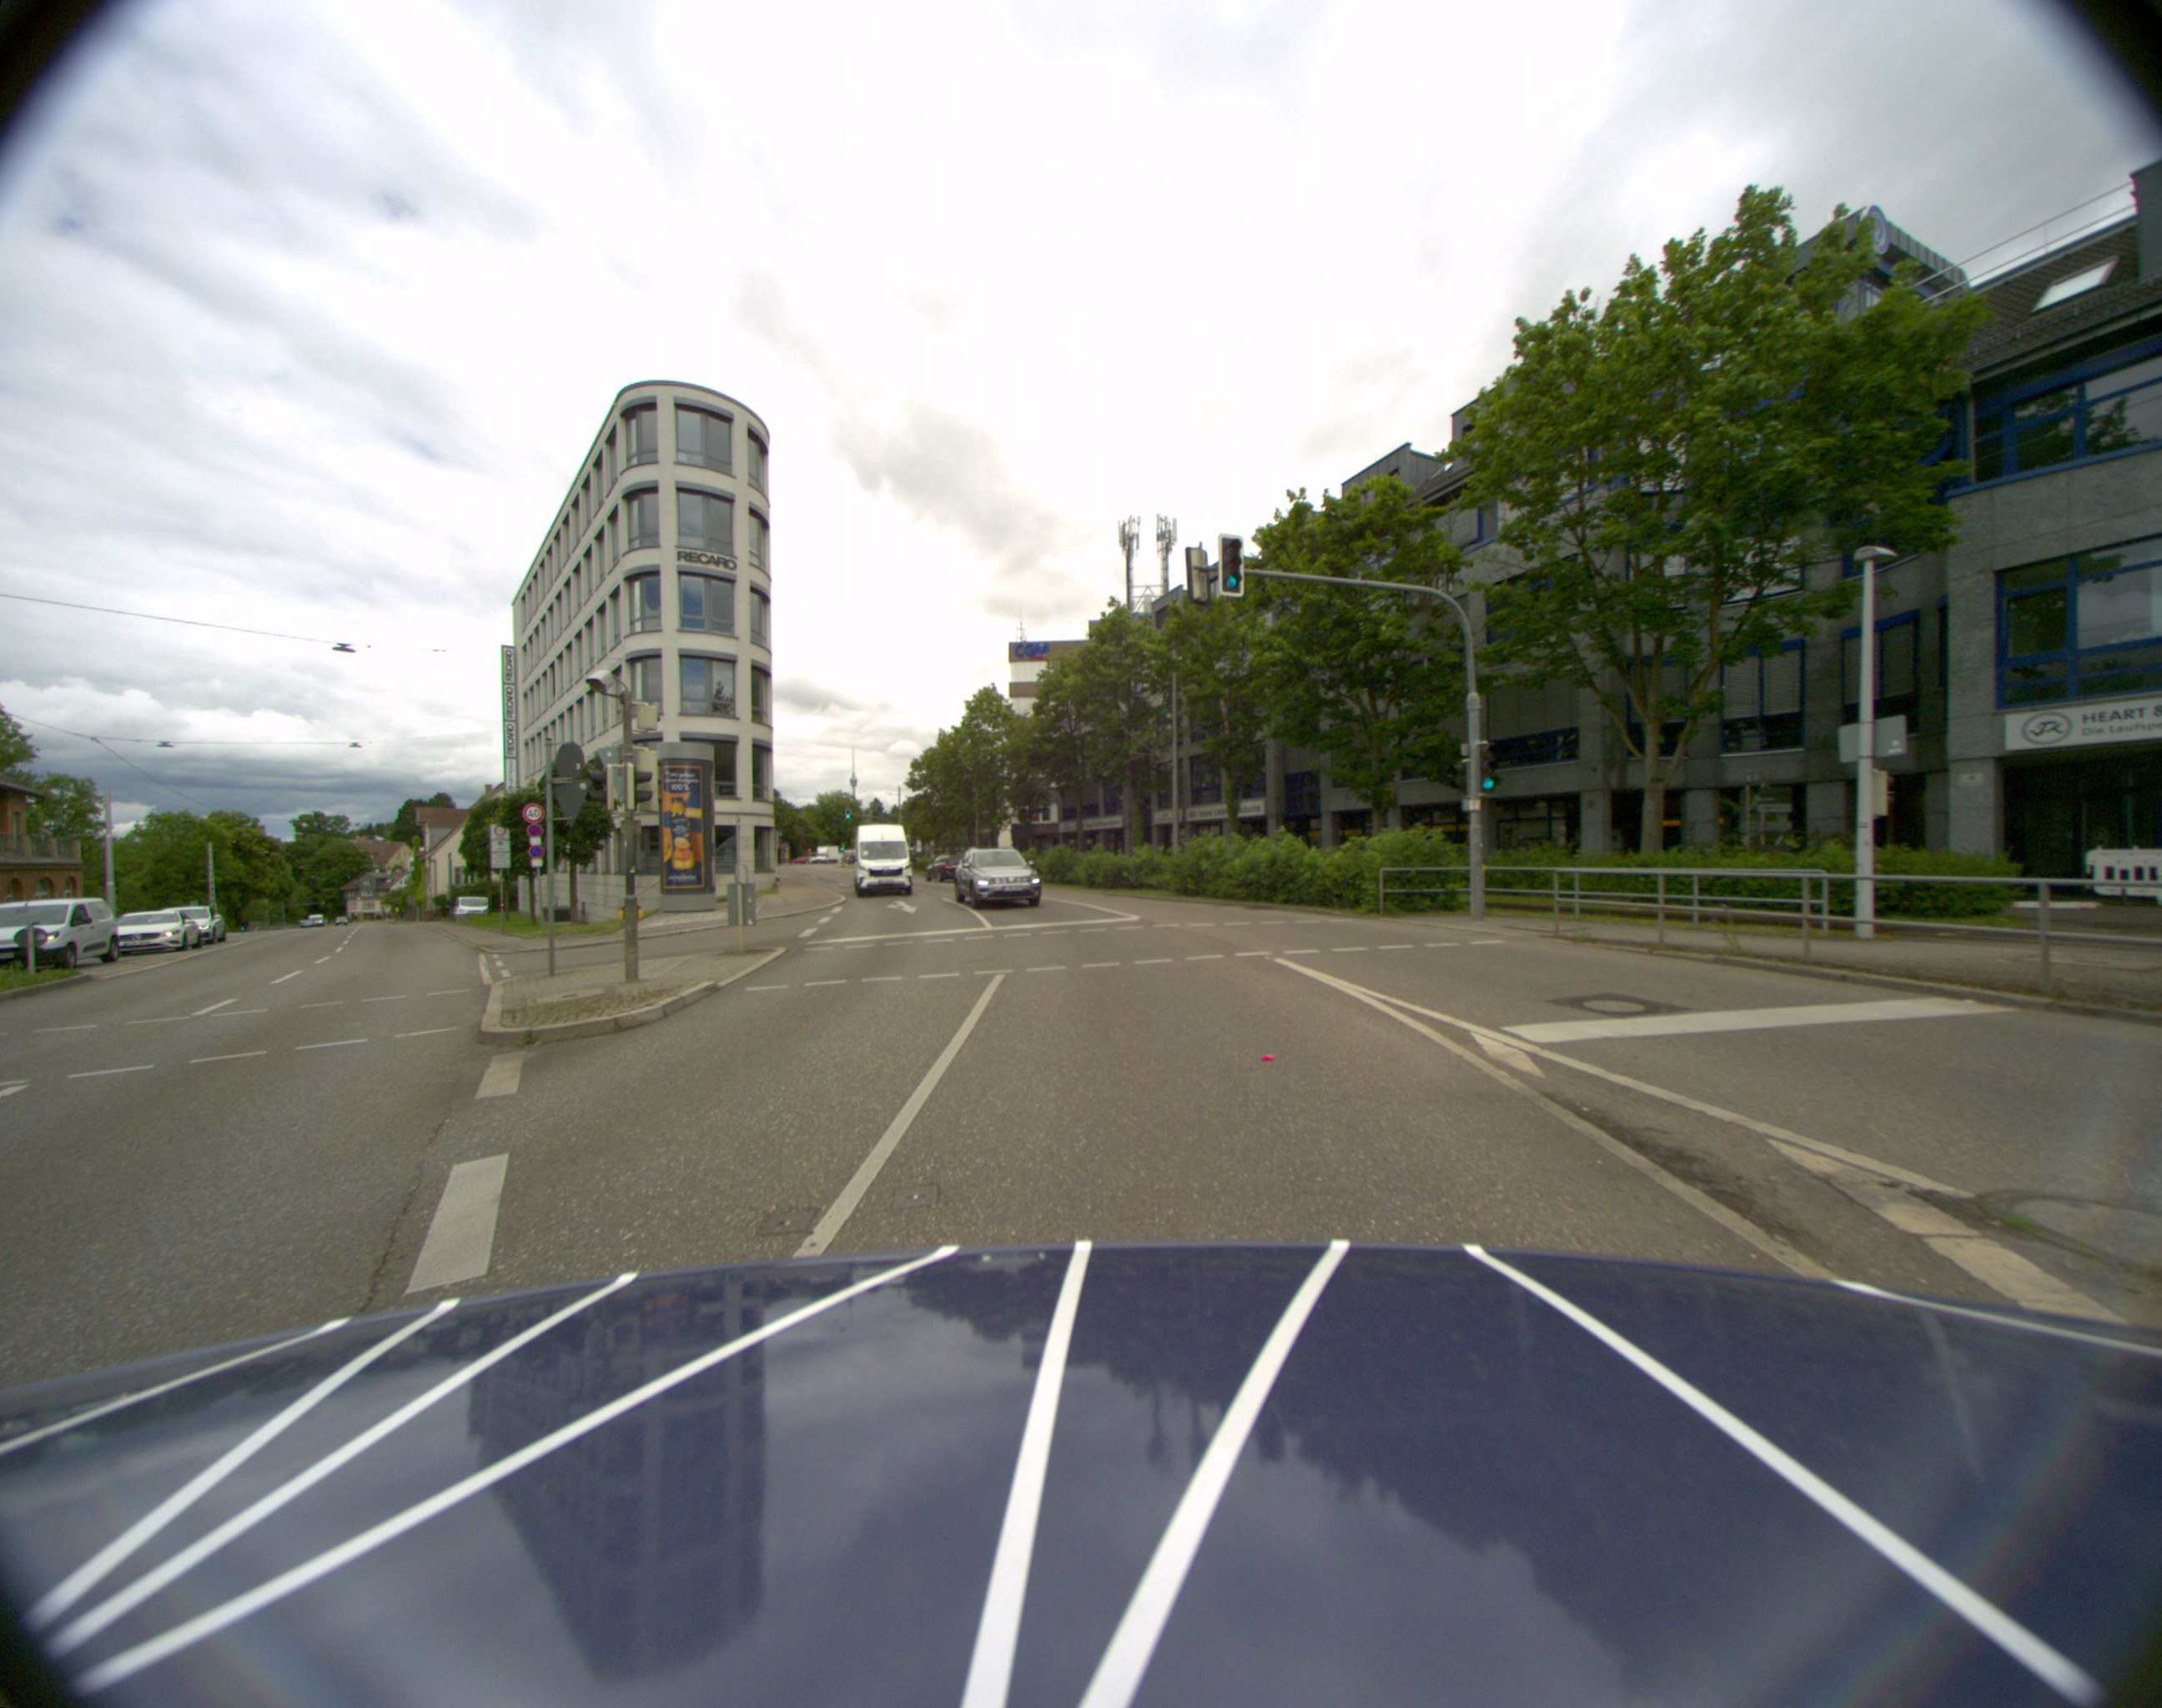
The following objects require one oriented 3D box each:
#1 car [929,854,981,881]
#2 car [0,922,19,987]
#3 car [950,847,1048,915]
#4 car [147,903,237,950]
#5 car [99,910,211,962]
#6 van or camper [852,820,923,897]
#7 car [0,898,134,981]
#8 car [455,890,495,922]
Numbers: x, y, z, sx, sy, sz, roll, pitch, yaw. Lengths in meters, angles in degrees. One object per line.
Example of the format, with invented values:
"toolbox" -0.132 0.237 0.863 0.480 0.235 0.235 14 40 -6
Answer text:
"car" -7.037 0.703 42.106 1.853 1.428 4.696 0 0 -22
"car" -23.009 2.168 14.678 1.656 1.366 3.968 -3 1 -36
"car" -2.454 0.686 21.650 1.836 1.636 4.319 -3 1 -18
"car" -36.130 2.889 30.984 1.740 1.559 4.315 -6 2 -42
"car" -31.275 2.704 25.794 1.759 1.368 4.276 -4 1 -42
"van or camper" -7.777 0.139 30.053 2.113 2.675 6.288 -3 1 -19
"car" -26.501 2.127 19.488 1.758 1.786 4.276 -4 1 -38
"car" -45.447 3.863 56.928 2.182 2.002 3.989 -3 2 -40
